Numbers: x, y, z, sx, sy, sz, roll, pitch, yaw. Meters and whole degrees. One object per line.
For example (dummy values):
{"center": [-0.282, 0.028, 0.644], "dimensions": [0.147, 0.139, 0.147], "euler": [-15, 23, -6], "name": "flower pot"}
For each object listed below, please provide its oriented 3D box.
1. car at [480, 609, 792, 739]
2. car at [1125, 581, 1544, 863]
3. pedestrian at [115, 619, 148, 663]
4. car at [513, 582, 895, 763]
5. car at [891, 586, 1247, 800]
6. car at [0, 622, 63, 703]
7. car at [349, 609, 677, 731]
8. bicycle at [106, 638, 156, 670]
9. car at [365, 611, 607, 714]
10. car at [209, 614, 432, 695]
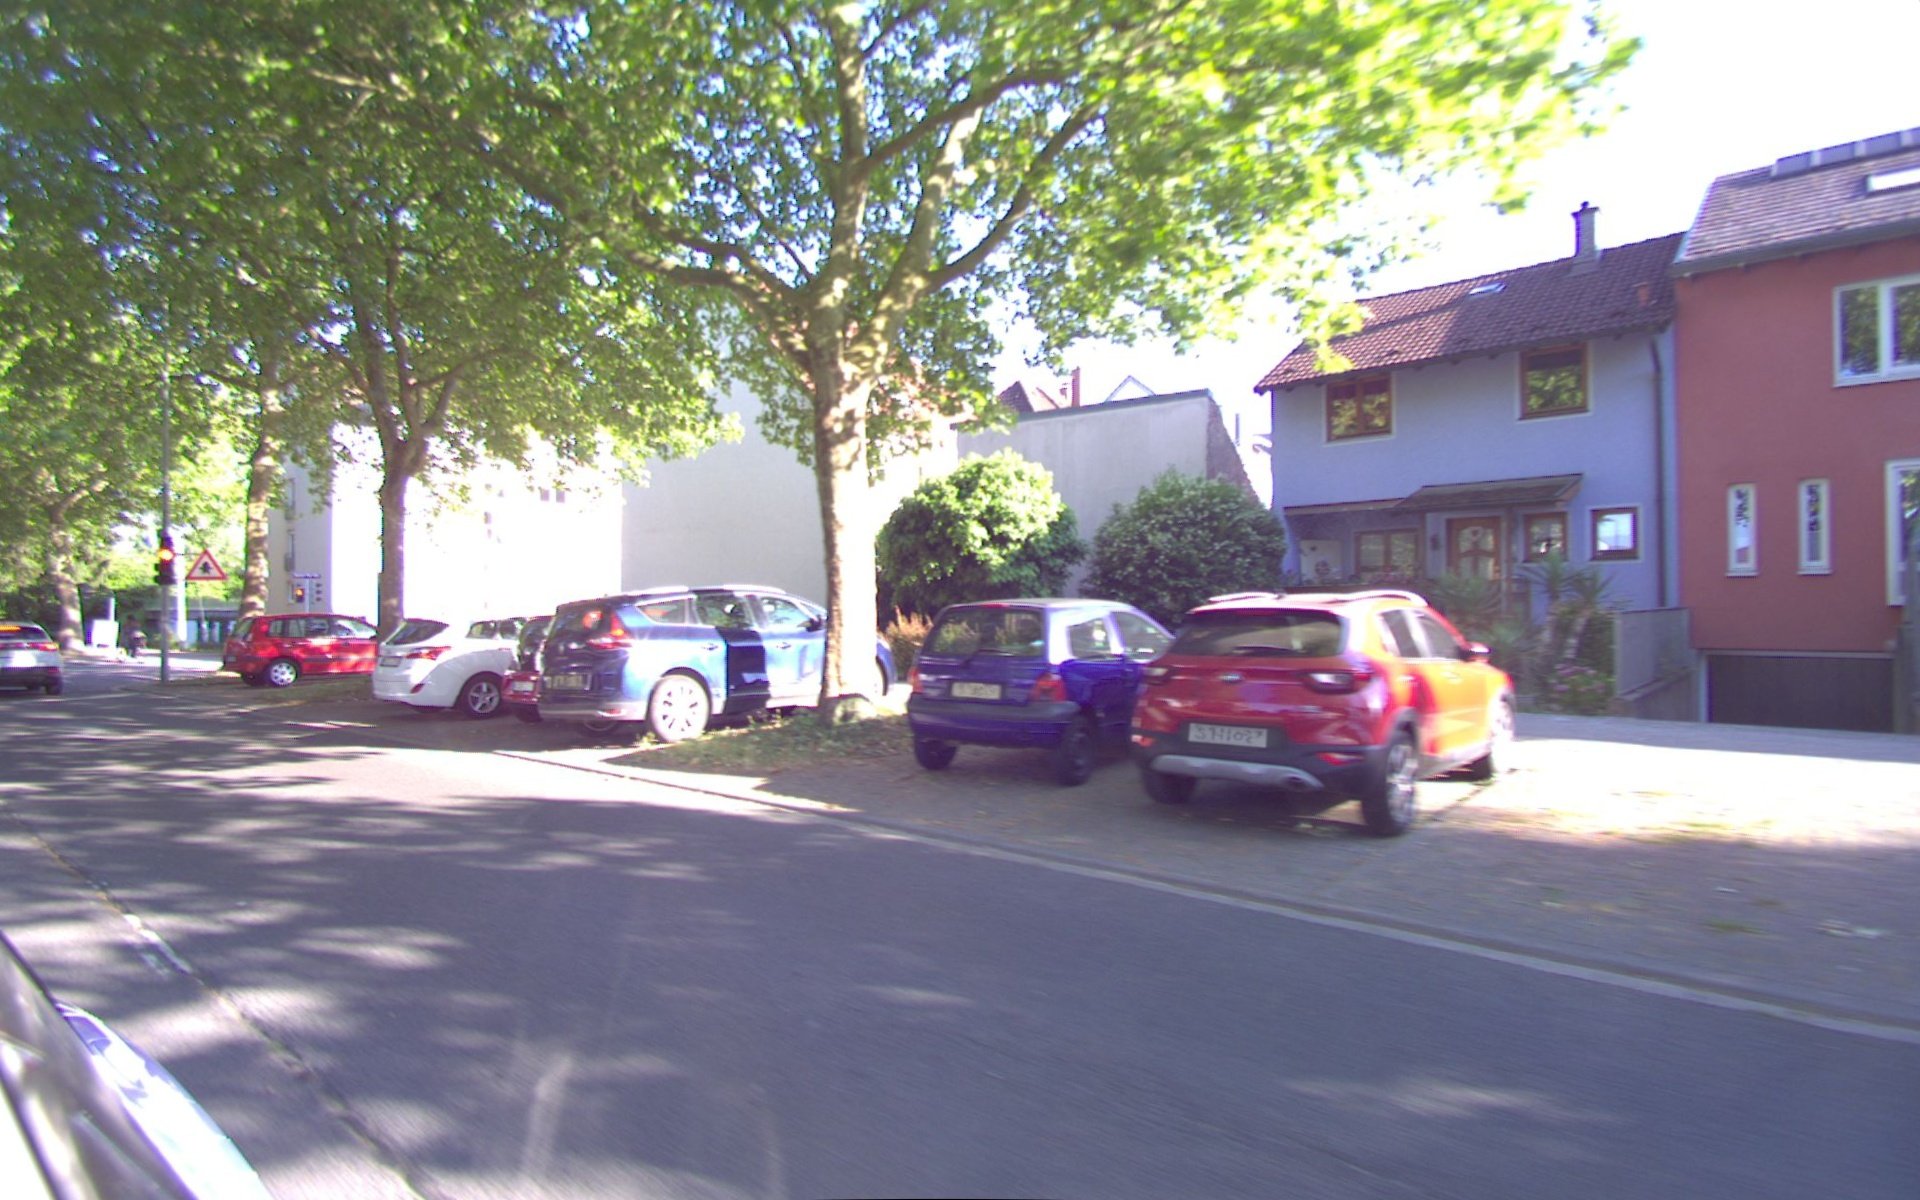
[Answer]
{"center": [-4.307, 0.896, 13.861], "dimensions": [1.753, 1.495, 3.721], "euler": [-2, -1, 39], "name": "car"}
{"center": [2.920, 0.670, 7.450], "dimensions": [1.780, 1.528, 3.605], "euler": [-2, -1, 40], "name": "car"}
{"center": [-29.944, 1.465, 36.561], "dimensions": [1.028, 1.543, 0.506], "euler": [0, -1, 26], "name": "pedestrian"}
{"center": [-2.819, 0.711, 11.852], "dimensions": [1.830, 1.729, 4.051], "euler": [-1, -1, 39], "name": "car"}
{"center": [1.154, 0.666, 9.221], "dimensions": [1.723, 1.528, 3.481], "euler": [-2, 0, 36], "name": "car"}
{"center": [-19.557, 1.217, 20.385], "dimensions": [4.091, 1.512, 1.699], "euler": [-1, -1, 40], "name": "car"}
{"center": [-6.550, 0.927, 15.218], "dimensions": [1.873, 1.512, 4.122], "euler": [-1, 0, 38], "name": "car"}
{"center": [-29.982, 1.939, 36.588], "dimensions": [2.141, 1.049, 0.506], "euler": [1, -1, 26], "name": "bicycle"}
{"center": [-7.929, 0.974, 17.118], "dimensions": [1.693, 1.491, 3.308], "euler": [-1, 0, 38], "name": "car"}
{"center": [-13.825, 1.113, 22.033], "dimensions": [1.829, 1.546, 3.729], "euler": [-1, -1, 37], "name": "car"}
